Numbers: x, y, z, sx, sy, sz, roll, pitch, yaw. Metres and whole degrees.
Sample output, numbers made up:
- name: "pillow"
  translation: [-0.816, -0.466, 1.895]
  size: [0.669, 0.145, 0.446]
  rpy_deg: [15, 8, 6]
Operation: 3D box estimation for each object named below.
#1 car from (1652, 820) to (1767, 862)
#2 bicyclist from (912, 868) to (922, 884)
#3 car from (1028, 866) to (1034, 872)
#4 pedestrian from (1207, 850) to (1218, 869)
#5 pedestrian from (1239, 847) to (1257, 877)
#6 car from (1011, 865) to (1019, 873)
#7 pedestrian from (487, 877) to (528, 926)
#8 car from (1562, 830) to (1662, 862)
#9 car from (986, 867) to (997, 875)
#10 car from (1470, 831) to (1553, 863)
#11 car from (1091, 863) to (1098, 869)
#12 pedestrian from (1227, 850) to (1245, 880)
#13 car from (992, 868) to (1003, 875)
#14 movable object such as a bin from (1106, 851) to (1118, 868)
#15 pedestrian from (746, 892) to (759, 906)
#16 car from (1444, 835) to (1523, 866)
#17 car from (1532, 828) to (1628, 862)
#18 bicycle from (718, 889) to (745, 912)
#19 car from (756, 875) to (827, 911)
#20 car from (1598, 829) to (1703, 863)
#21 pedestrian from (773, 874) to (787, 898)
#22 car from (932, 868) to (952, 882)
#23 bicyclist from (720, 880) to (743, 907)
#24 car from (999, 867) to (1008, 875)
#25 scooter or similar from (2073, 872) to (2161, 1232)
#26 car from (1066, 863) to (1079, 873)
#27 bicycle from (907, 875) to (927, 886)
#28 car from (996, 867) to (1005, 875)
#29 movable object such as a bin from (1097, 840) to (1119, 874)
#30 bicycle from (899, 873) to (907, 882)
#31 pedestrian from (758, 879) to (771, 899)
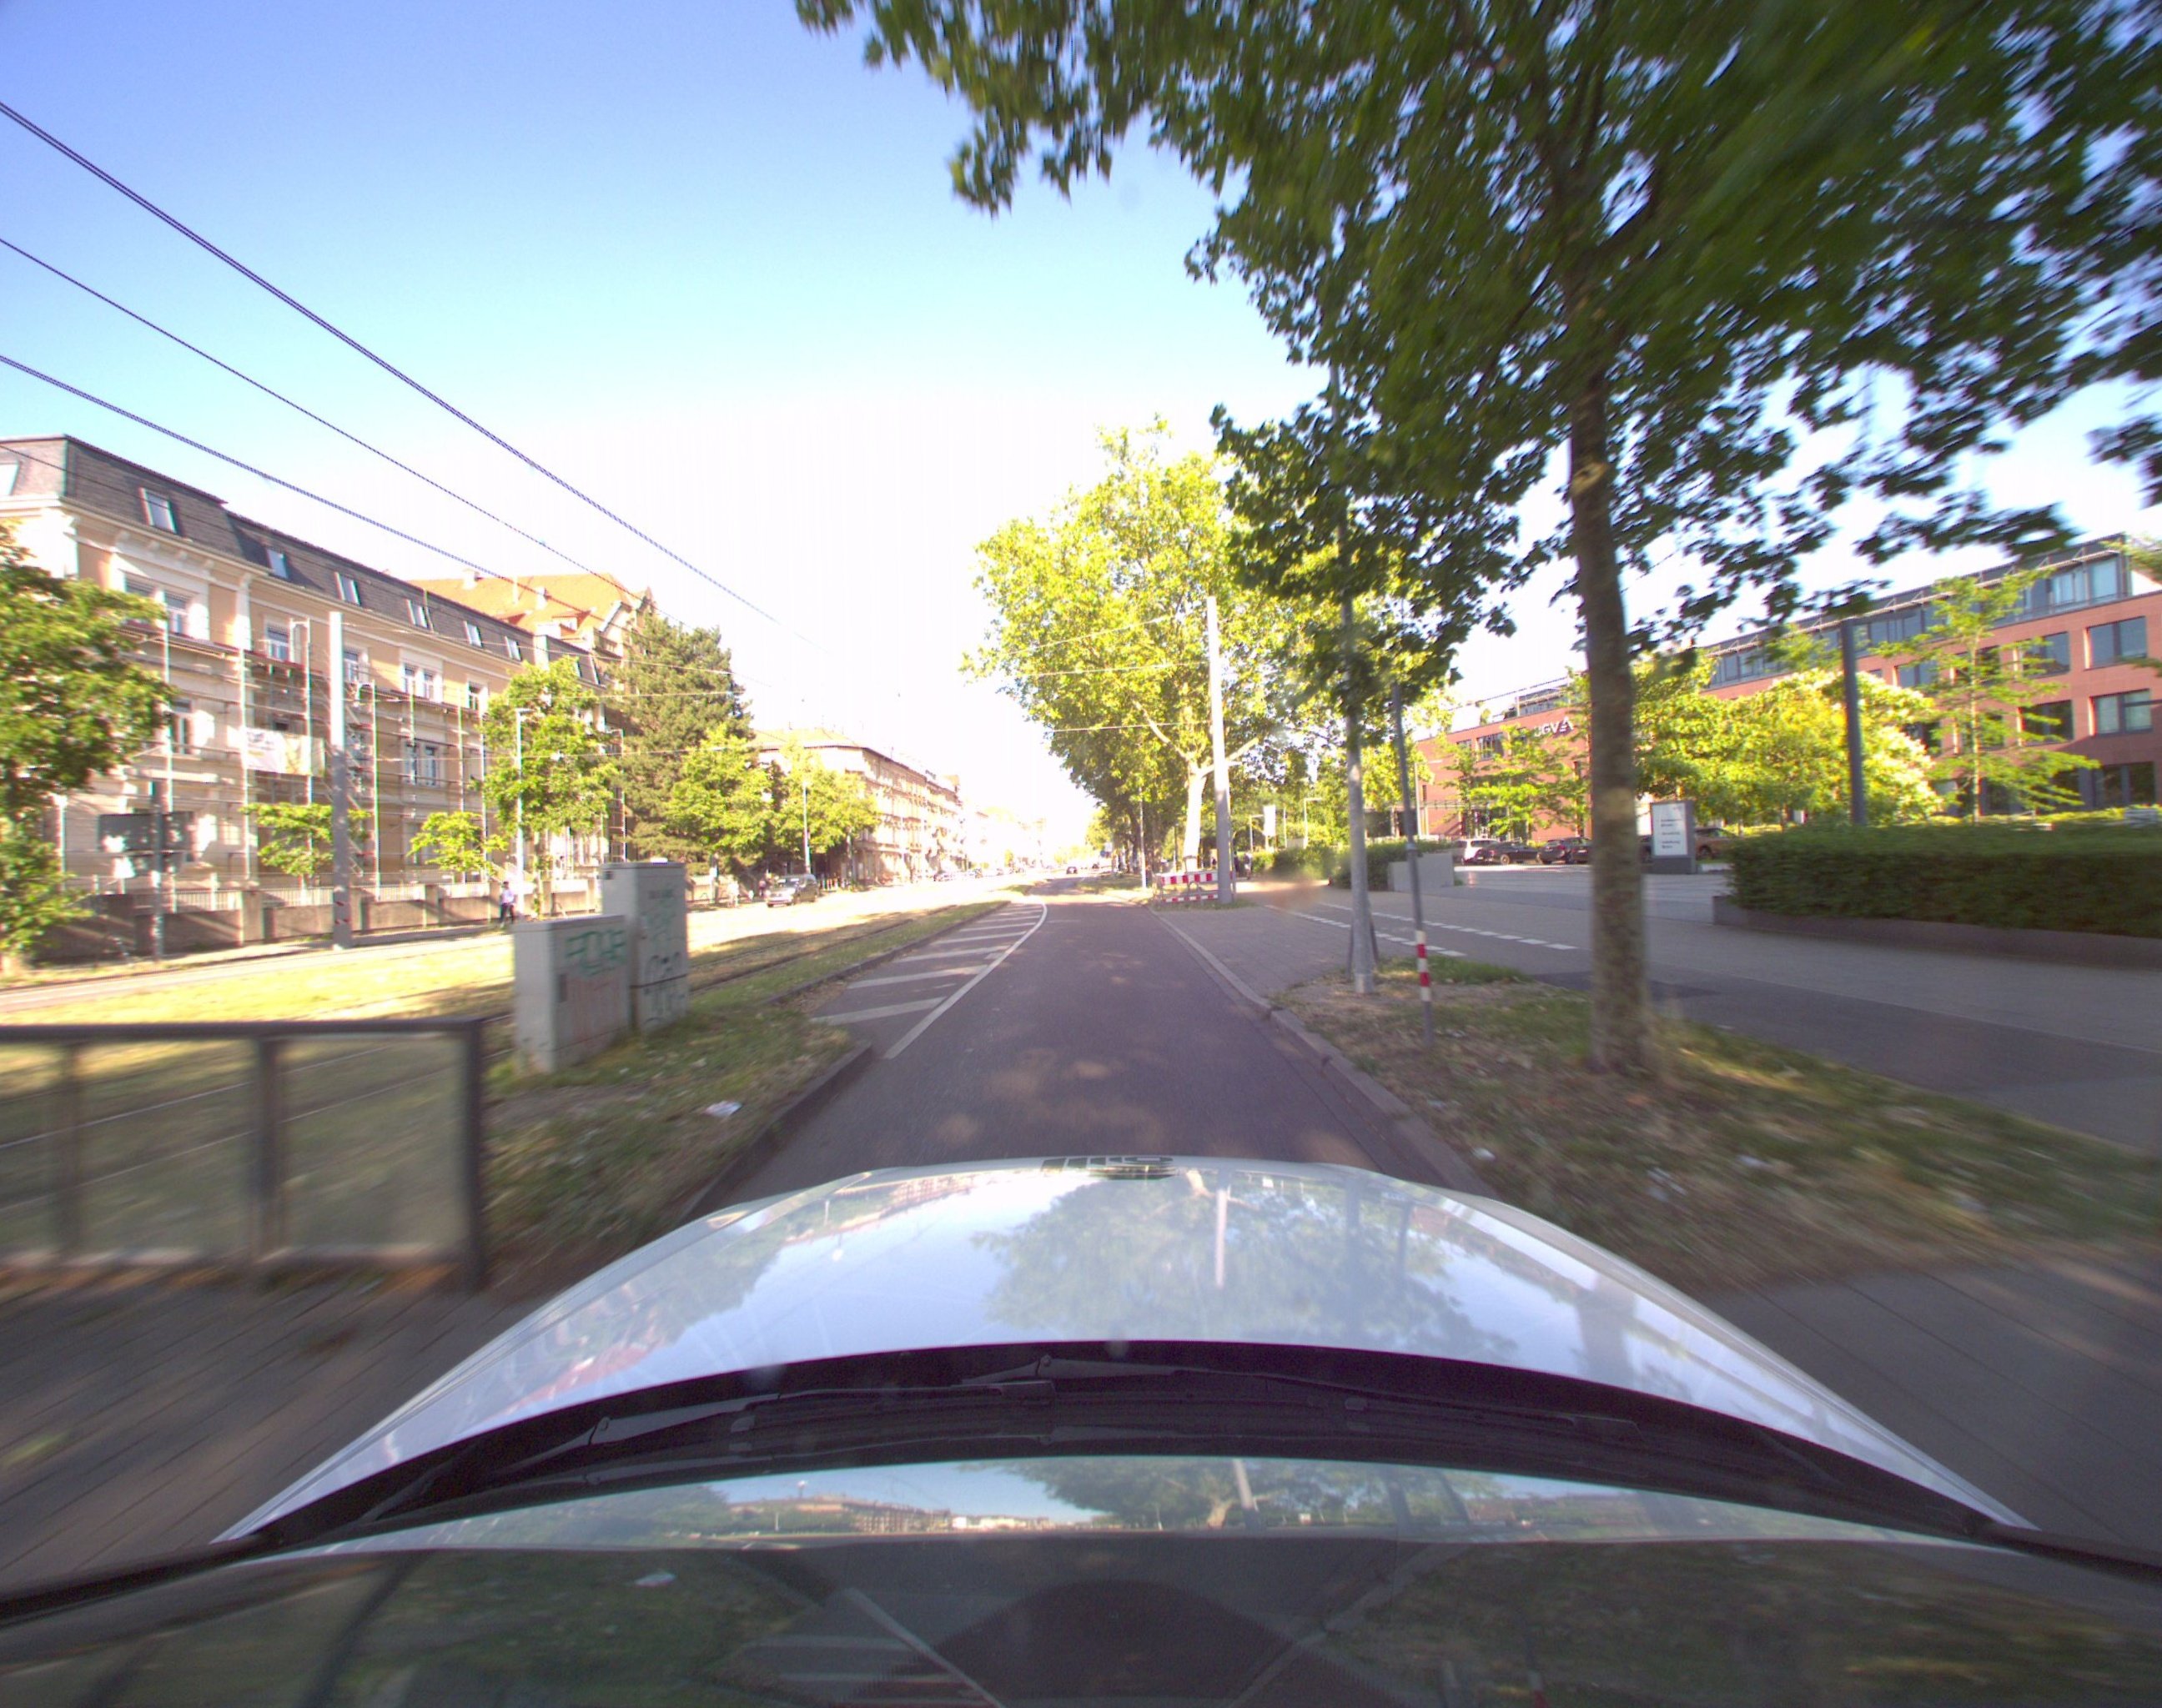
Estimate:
- name: "car"
  translation: [30.156, -0.622, 39.107]
  size: [4.684, 1.713, 2.060]
  rpy_deg: [-4, 0, -18]
- name: "bicyclist"
  translation: [-17.775, 2.391, 88.285]
  size: [0.923, 1.715, 0.761]
  rpy_deg: [-4, 3, -23]
- name: "car"
  translation: [-15.693, 4.732, 257.367]
  size: [1.521, 1.561, 3.224]
  rpy_deg: [0, 0, 1]
- name: "pedestrian"
  translation: [10.585, 0.453, 65.522]
  size: [0.647, 1.539, 0.783]
  rpy_deg: [-3, -1, 1]
- name: "pedestrian"
  translation: [10.107, 0.480, 49.244]
  size: [0.802, 1.793, 1.110]
  rpy_deg: [-4, -1, 2]
- name: "car"
  translation: [-17.402, 3.904, 213.831]
  size: [1.652, 2.140, 3.526]
  rpy_deg: [0, 0, 1]
- name: "pedestrian"
  translation: [-23.897, 1.967, 33.958]
  size: [0.855, 1.928, 1.086]
  rpy_deg: [-3, -1, 0]
- name: "car"
  translation: [28.590, -0.424, 43.870]
  size: [4.684, 1.383, 1.962]
  rpy_deg: [-4, 0, -18]
- name: "car"
  translation: [-18.555, 3.558, 168.807]
  size: [1.735, 1.561, 3.768]
  rpy_deg: [0, 0, 1]
- name: "car"
  translation: [26.705, -0.418, 50.548]
  size: [4.686, 1.713, 1.836]
  rpy_deg: [-4, 0, -19]
- name: "car"
  translation: [4.210, 3.714, 254.590]
  size: [1.990, 1.860, 3.993]
  rpy_deg: [0, -1, -5]
- name: "pedestrian"
  translation: [9.312, 0.658, 48.970]
  size: [0.747, 1.793, 1.086]
  rpy_deg: [-4, -1, 2]
- name: "car"
  translation: [-17.812, 3.729, 173.554]
  size: [1.735, 1.561, 3.768]
  rpy_deg: [0, 0, 1]
- name: "movable object such as a bin"
  translation: [5.867, 1.084, 154.502]
  size: [1.961, 3.013, 4.797]
  rpy_deg: [-5, -1, 1]
- name: "pedestrian"
  translation: [-23.976, 3.275, 59.428]
  size: [0.648, 0.932, 0.585]
  rpy_deg: [-3, -1, -1]
- name: "car"
  translation: [26.391, -0.248, 53.426]
  size: [4.686, 1.713, 1.836]
  rpy_deg: [-4, 0, -19]
- name: "car"
  translation: [28.501, -0.500, 46.508]
  size: [4.684, 1.598, 2.060]
  rpy_deg: [-4, 0, -18]
- name: "bicycle"
  translation: [-19.871, 2.641, 46.335]
  size: [0.772, 1.193, 1.756]
  rpy_deg: [0, -1, 1]
- name: "car"
  translation: [-16.400, 2.182, 46.391]
  size: [1.928, 1.919, 4.482]
  rpy_deg: [0, -1, 8]
- name: "car"
  translation: [29.031, -0.405, 41.537]
  size: [4.684, 1.466, 1.951]
  rpy_deg: [-4, 0, -18]
- name: "pedestrian"
  translation: [-22.900, 2.408, 62.037]
  size: [0.648, 1.775, 0.888]
  rpy_deg: [-3, -1, 0]
- name: "car"
  translation: [-20.241, 3.036, 118.536]
  size: [2.008, 1.754, 4.559]
  rpy_deg: [0, 0, 1]
- name: "bicyclist"
  translation: [-19.872, 2.227, 46.291]
  size: [0.772, 1.481, 1.134]
  rpy_deg: [0, -1, 1]
- name: "car"
  translation: [-17.632, 3.854, 185.635]
  size: [1.521, 1.561, 3.224]
  rpy_deg: [0, 0, 1]
- name: "scooter or similar"
  translation: [4.266, 0.672, 2.609]
  size: [1.047, 1.244, 0.842]
  rpy_deg: [-3, -1, 4]
- name: "car"
  translation: [-1.394, 2.452, 138.761]
  size: [1.986, 1.684, 4.001]
  rpy_deg: [0, -1, 2]
- name: "bicycle"
  translation: [-17.757, 2.838, 88.316]
  size: [1.962, 1.040, 0.761]
  rpy_deg: [-4, 3, -24]
- name: "car"
  translation: [-17.648, 3.764, 179.097]
  size: [1.521, 1.561, 3.224]
  rpy_deg: [0, 0, 1]
- name: "movable object such as a bin"
  translation: [4.331, 0.476, 132.362]
  size: [3.076, 5.088, 8.893]
  rpy_deg: [-5, -1, 1]
- name: "bicycle"
  translation: [-24.014, 3.136, 110.045]
  size: [0.696, 1.180, 1.752]
  rpy_deg: [0, -1, 2]
- name: "pedestrian"
  translation: [-24.584, 2.709, 63.207]
  size: [0.648, 1.539, 0.783]
  rpy_deg: [-3, -1, 0]
